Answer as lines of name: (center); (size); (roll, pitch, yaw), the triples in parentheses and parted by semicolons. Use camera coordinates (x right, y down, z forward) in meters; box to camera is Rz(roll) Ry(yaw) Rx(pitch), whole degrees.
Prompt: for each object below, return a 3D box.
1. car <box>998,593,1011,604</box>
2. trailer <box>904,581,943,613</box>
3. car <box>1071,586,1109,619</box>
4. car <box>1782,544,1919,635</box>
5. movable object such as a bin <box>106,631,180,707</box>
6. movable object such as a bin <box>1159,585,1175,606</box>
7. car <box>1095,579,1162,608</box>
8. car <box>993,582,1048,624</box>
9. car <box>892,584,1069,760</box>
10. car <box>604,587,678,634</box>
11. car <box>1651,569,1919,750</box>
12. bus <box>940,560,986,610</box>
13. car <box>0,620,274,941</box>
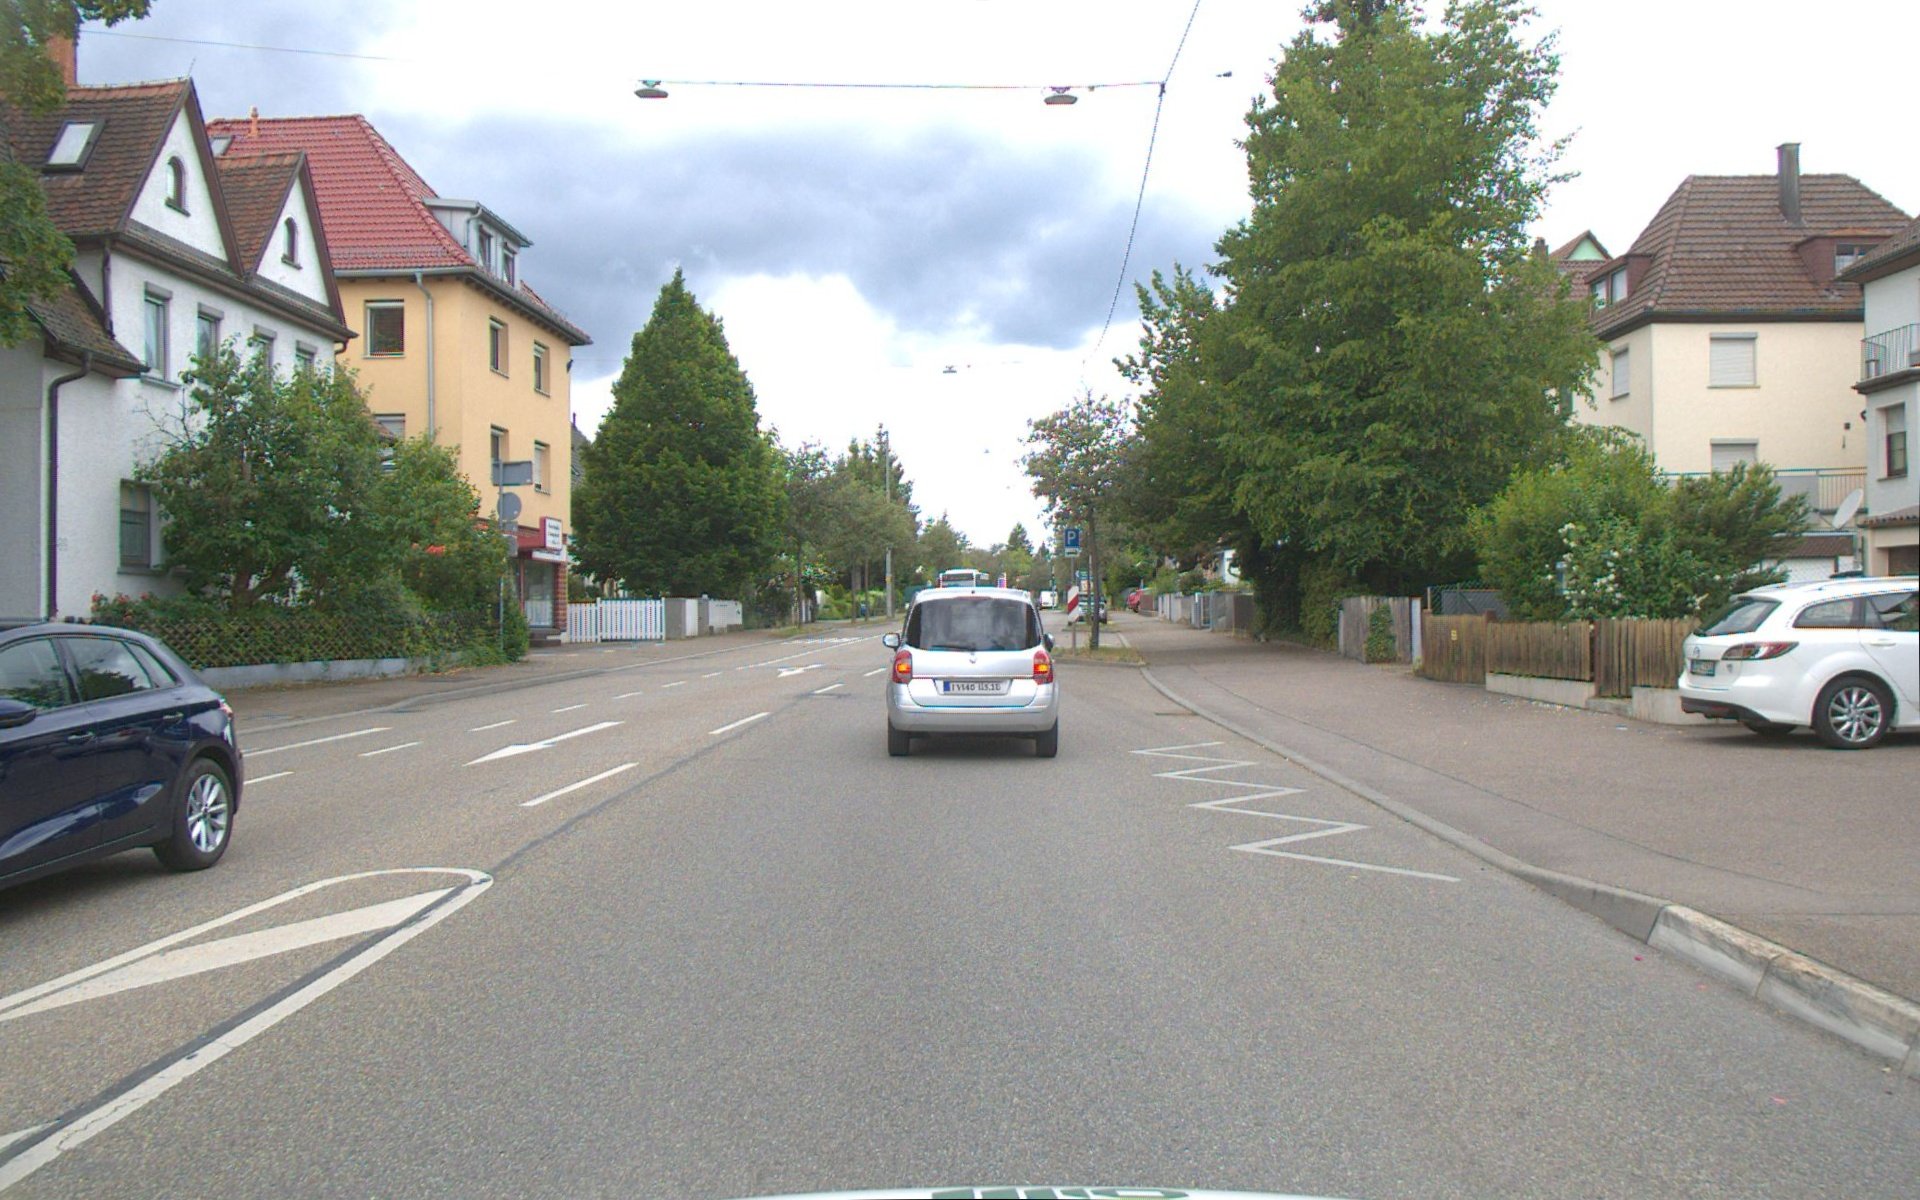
car: (6.834, -0.280, 253.054); (1.867, 1.646, 3.999); (0, -1, -1)
trailer: (-2.465, -0.177, 112.317); (2.264, 2.123, 5.874); (0, -1, 2)
car: (5.716, 0.130, 72.609); (1.615, 1.406, 4.002); (0, -1, 4)
car: (17.364, -0.197, 29.943); (4.002, 1.420, 1.833); (-1, -5, -5)
movable object such as a bin: (-11.920, 0.996, 24.134); (0.706, 1.037, 0.720); (3, 3, 36)
movable object such as a bin: (11.276, -0.221, 90.085); (0.760, 1.123, 0.692); (-1, 0, 3)
car: (10.666, -0.395, 104.916); (3.910, 1.522, 1.808); (-4, 0, -5)
car: (2.595, 0.136, 70.586); (1.790, 1.705, 3.577); (-1, 0, 11)
car: (0.200, 0.675, 16.970); (1.596, 1.584, 4.000); (0, -1, 0)
car: (-11.799, 0.360, 61.440); (1.769, 1.591, 4.618); (-3, 1, 0)
car: (9.038, 0.473, 15.461); (4.328, 1.514, 1.865); (-3, -1, 2)
bus: (0.288, -1.004, 114.291); (2.577, 3.140, 12.074); (-2, 0, 2)
car: (-5.070, 0.836, 8.106); (1.531, 1.445, 4.131); (-1, -1, 2)
